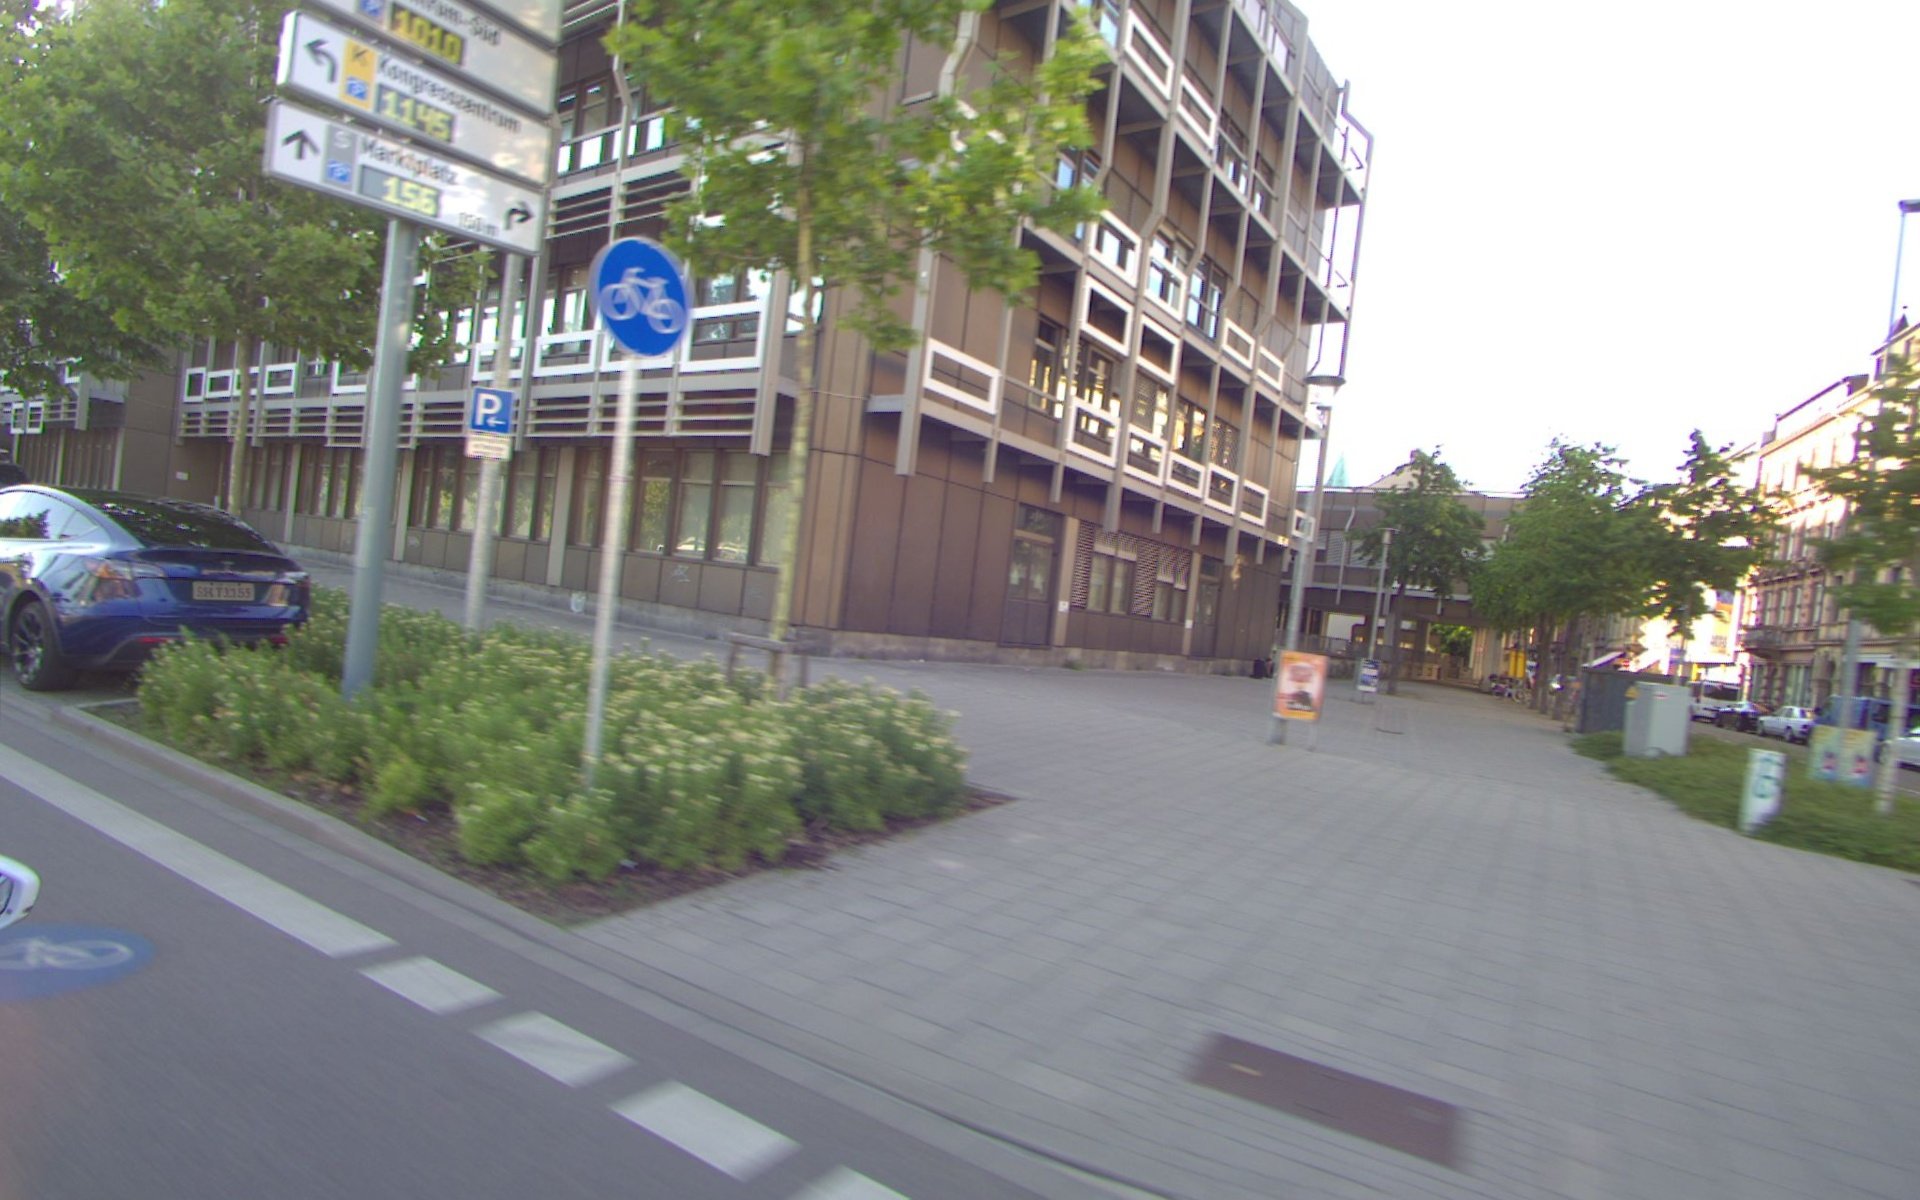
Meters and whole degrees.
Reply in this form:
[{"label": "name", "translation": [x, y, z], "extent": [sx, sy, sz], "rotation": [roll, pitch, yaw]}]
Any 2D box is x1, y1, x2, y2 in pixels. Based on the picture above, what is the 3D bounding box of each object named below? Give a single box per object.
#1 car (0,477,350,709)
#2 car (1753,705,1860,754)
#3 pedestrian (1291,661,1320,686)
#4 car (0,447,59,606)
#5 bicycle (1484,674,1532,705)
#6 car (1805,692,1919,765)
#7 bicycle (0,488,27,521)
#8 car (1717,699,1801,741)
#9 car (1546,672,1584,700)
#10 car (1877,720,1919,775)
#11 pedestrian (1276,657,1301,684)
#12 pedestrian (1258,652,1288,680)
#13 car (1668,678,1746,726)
[{"label": "car", "translation": [-8.058, -0.223, 9.366], "extent": [4.617, 1.620, 1.933], "rotation": [7, 2, 28]}, {"label": "car", "translation": [31.957, 4.856, 38.109], "extent": [1.829, 1.347, 4.068], "rotation": [6, -1, 23]}, {"label": "pedestrian", "translation": [11.605, 2.472, 33.791], "extent": [0.710, 0.736, 0.439], "rotation": [7, 1, -14]}, {"label": "car", "translation": [-13.856, -1.159, 13.291], "extent": [4.321, 1.945, 1.735], "rotation": [7, 3, 32]}, {"label": "bicycle", "translation": [23.528, 3.832, 43.210], "extent": [0.576, 1.056, 1.916], "rotation": [7, 0, -14]}, {"label": "car", "translation": [29.783, 4.159, 33.034], "extent": [1.829, 1.952, 4.052], "rotation": [6, -1, 23]}, {"label": "bicycle", "translation": [-35.196, -3.532, 36.496], "extent": [0.385, 1.107, 1.901], "rotation": [7, 1, 29]}, {"label": "car", "translation": [33.842, 5.068, 42.709], "extent": [1.633, 1.347, 3.932], "rotation": [6, -1, 23]}, {"label": "car", "translation": [41.466, 5.860, 69.007], "extent": [1.628, 1.630, 3.378], "rotation": [6, -1, 23]}, {"label": "car", "translation": [27.630, 4.262, 27.977], "extent": [1.829, 1.408, 3.870], "rotation": [6, -1, 23]}, {"label": "pedestrian", "translation": [11.530, 2.466, 35.343], "extent": [0.590, 0.831, 0.542], "rotation": [7, 1, -6]}, {"label": "pedestrian", "translation": [10.744, 2.269, 34.546], "extent": [0.702, 0.831, 0.558], "rotation": [7, 1, -6]}, {"label": "car", "translation": [36.972, 5.007, 49.923], "extent": [2.023, 2.003, 4.042], "rotation": [6, -1, 23]}]
